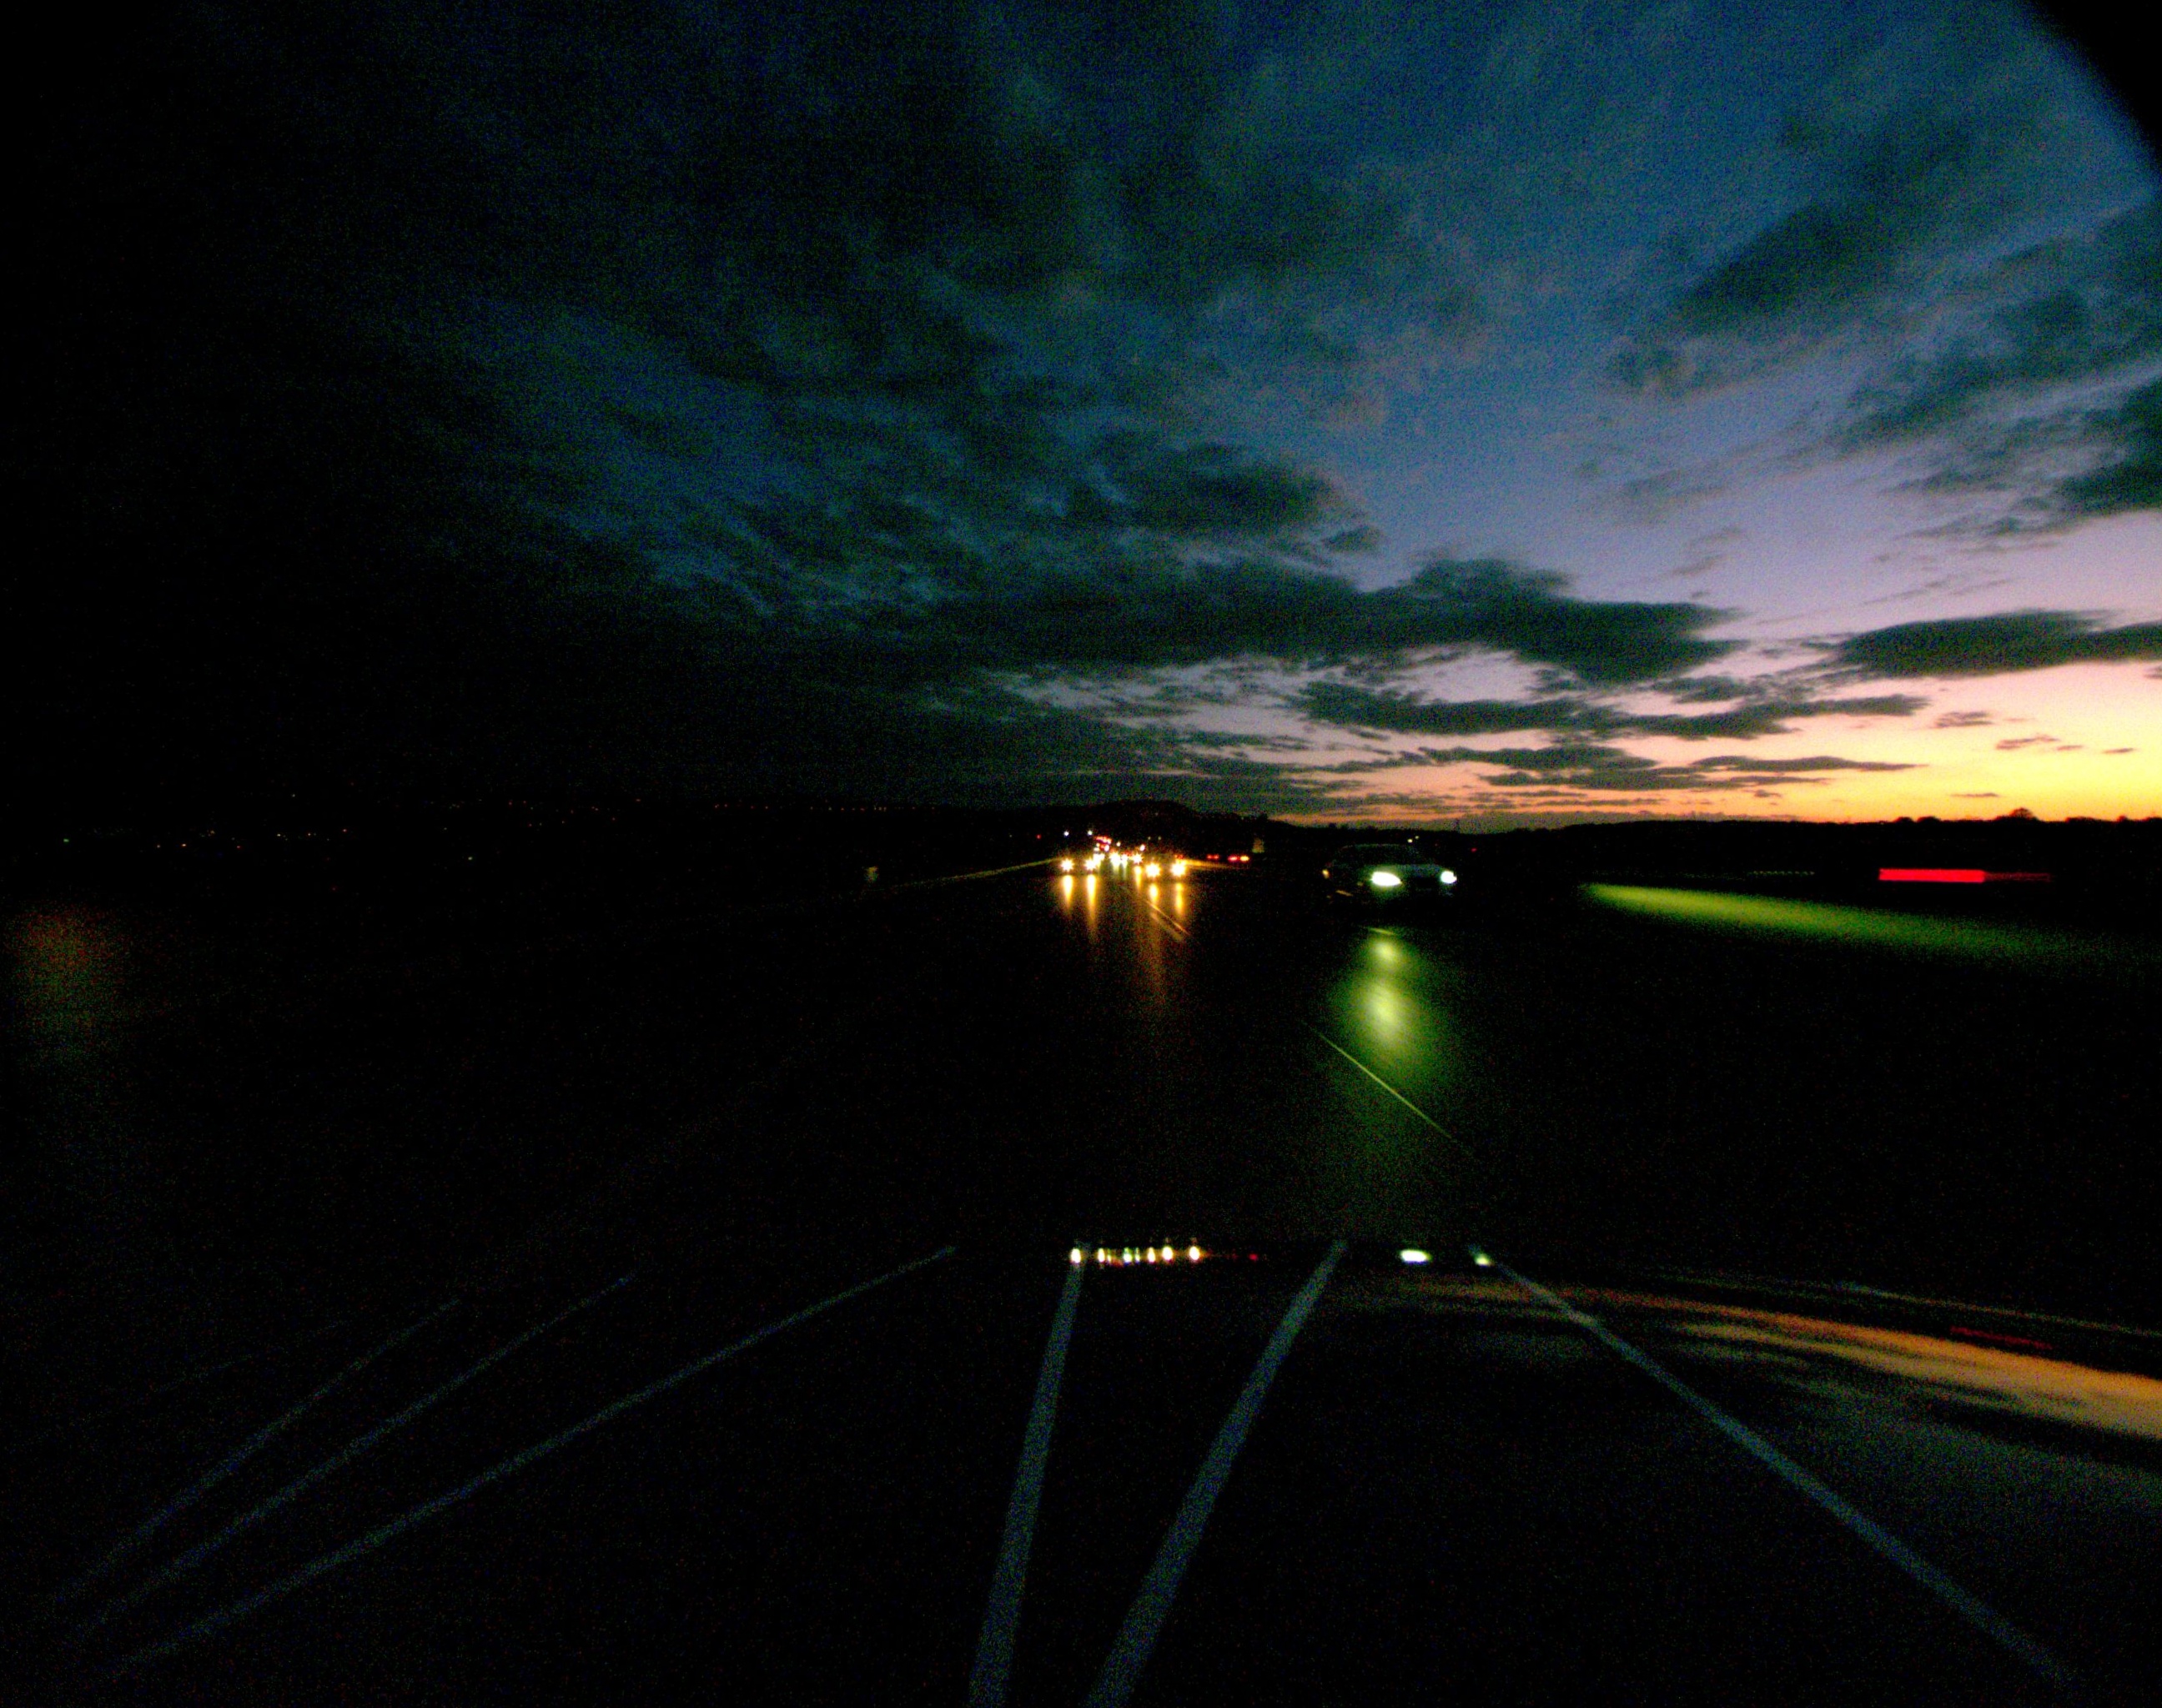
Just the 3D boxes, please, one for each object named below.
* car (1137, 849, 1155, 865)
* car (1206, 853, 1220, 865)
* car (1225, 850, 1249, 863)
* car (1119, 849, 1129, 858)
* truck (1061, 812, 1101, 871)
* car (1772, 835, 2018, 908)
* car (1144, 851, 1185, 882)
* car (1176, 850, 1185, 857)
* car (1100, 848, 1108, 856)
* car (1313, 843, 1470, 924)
[{"bbox_3d":[8.116,0.312,95.112,1.862,1.826,3.999,-2,1,1],"label":"car"},{"bbox_3d":[24.243,0.879,140.011,1.778,2.002,4.418,-2,1,1],"label":"car"},{"bbox_3d":[17.251,0.274,84.342,1.675,1.293,4.704,-2,1,1],"label":"car"},{"bbox_3d":[8.728,-0.103,153.910,1.862,1.826,3.999,-2,1,1],"label":"car"},{"bbox_3d":[0.080,-0.952,66.478,3.012,4.570,12.578,-2,0,1],"label":"truck"},{"bbox_3d":[23.684,0.434,22.479,1.998,1.836,4.957,-2,1,1],"label":"car"},{"bbox_3d":[4.555,0.635,41.801,1.802,1.531,4.159,-2,1,1],"label":"car"},{"bbox_3d":[25.340,-0.154,194.368,1.662,1.526,4.519,-2,1,1],"label":"car"},{"bbox_3d":[5.570,-0.597,187.542,1.862,1.826,3.999,-2,1,1],"label":"car"},{"bbox_3d":[7.309,0.600,18.479,1.819,1.638,4.856,-2,1,1],"label":"car"}]
